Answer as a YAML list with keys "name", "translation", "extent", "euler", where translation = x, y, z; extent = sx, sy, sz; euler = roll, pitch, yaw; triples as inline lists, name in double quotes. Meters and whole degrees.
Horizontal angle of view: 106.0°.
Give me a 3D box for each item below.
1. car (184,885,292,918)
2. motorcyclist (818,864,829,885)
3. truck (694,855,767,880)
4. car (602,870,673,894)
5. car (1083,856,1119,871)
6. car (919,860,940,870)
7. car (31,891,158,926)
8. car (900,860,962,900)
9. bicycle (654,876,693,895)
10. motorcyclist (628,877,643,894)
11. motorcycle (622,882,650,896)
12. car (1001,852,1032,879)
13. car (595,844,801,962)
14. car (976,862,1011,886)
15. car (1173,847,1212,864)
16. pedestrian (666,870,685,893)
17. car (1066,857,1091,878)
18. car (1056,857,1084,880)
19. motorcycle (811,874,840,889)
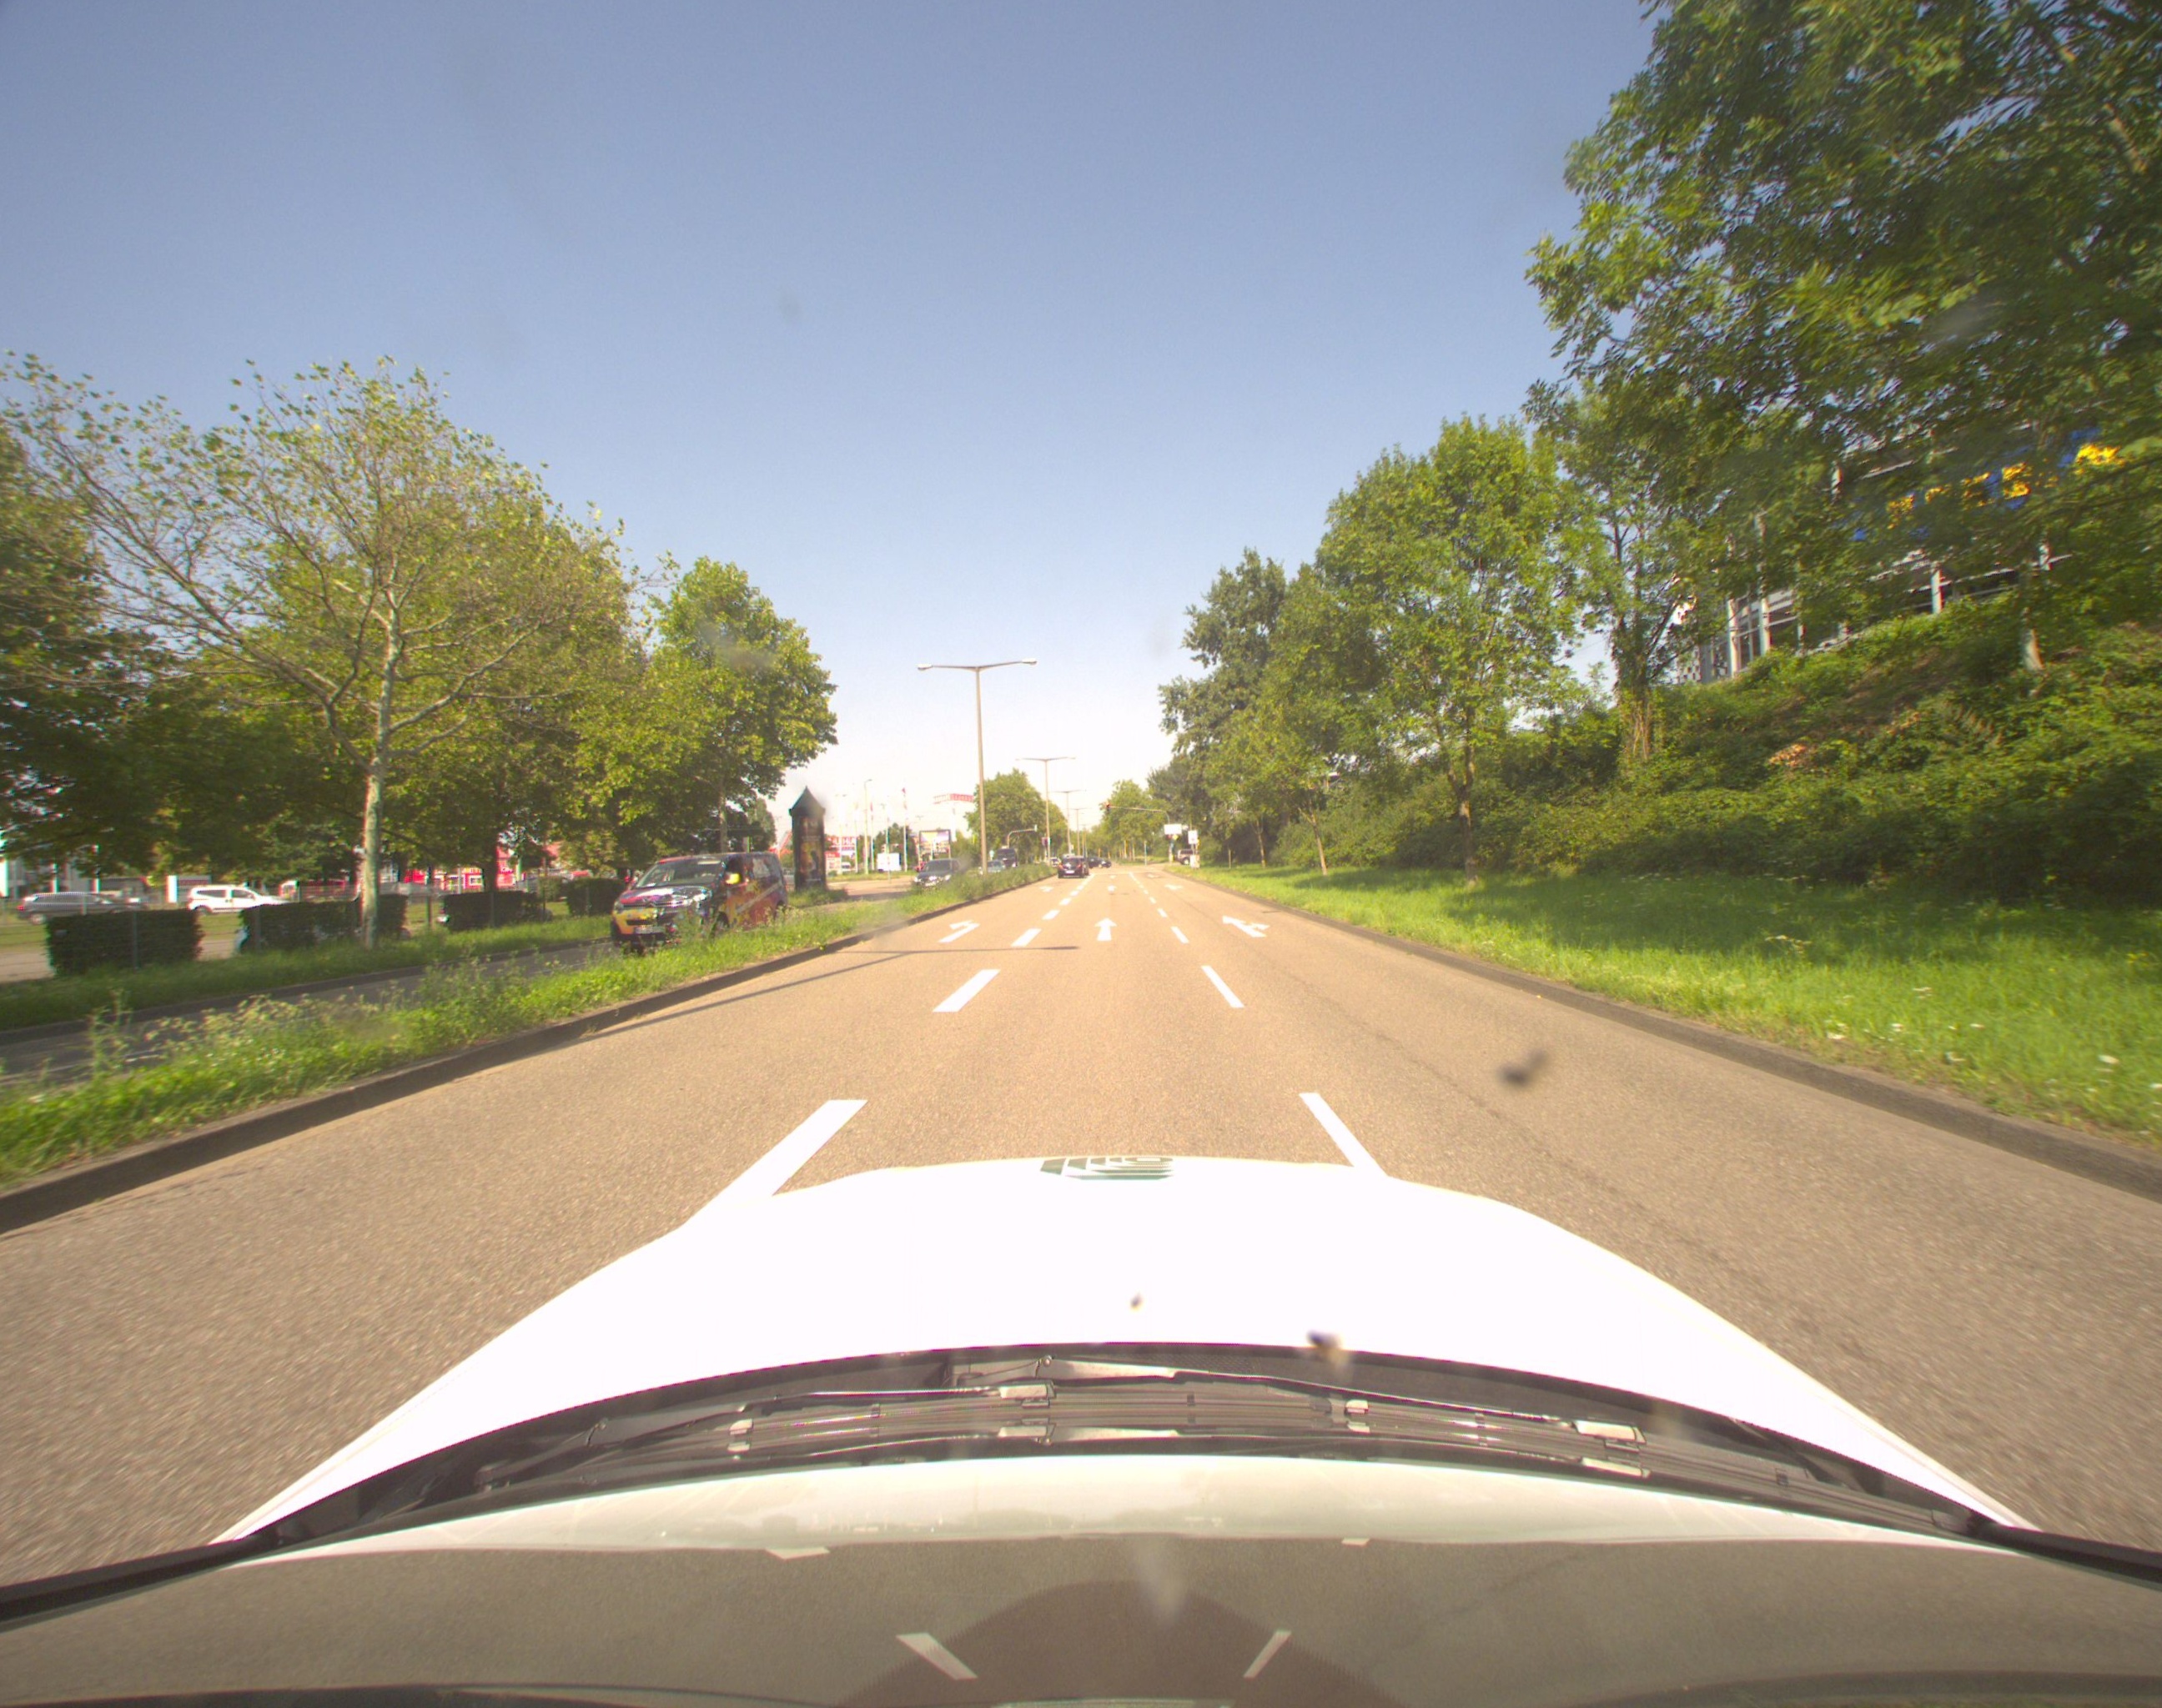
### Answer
- name: "car"
  translation: [-48.510, 2.707, 46.989]
  extent: [4.017, 1.679, 1.850]
  euler: [-1, -1, -35]
- name: "motorcyclist"
  translation: [-20.231, 1.618, 64.005]
  extent: [0.686, 1.572, 0.676]
  euler: [-1, -1, -34]
- name: "truck"
  translation: [-49.933, 1.936, 116.066]
  extent: [9.050, 2.958, 3.477]
  euler: [-3, 0, -34]
- name: "car"
  translation: [-32.215, 2.006, 59.173]
  extent: [4.330, 1.579, 1.555]
  euler: [-1, -1, -36]
- name: "car"
  translation: [2.341, 1.111, 95.413]
  extent: [3.933, 1.533, 1.830]
  euler: [-2, -1, 14]
- name: "car"
  translation: [-32.373, 2.304, 173.892]
  extent: [1.974, 2.014, 4.317]
  euler: [-2, -1, 30]
- name: "car"
  translation: [-53.769, 2.926, 44.511]
  extent: [4.015, 1.545, 1.821]
  euler: [-3, 0, -33]
- name: "car"
  translation: [-6.995, 1.179, 38.556]
  extent: [1.987, 1.706, 4.505]
  euler: [-2, -1, 1]
- name: "bicycle"
  translation: [-29.025, 2.255, 58.070]
  extent: [2.370, 1.235, 0.865]
  euler: [-1, -1, -34]
- name: "motorcyclist"
  translation: [-31.730, 2.208, 58.000]
  extent: [0.833, 1.178, 0.684]
  euler: [-1, -1, -33]
- name: "motorcycle"
  translation: [-31.695, 2.494, 58.006]
  extent: [1.727, 0.945, 0.704]
  euler: [-1, -1, -33]
- name: "car"
  translation: [-5.834, 1.043, 74.550]
  extent: [2.104, 2.333, 6.285]
  euler: [-2, -1, 2]
- name: "car"
  translation: [-7.700, 0.891, 16.964]
  extent: [1.925, 2.027, 4.568]
  euler: [-3, 0, 1]
- name: "car"
  translation: [-6.055, 1.383, 56.782]
  extent: [1.766, 1.574, 4.003]
  euler: [-2, -1, 3]
- name: "car"
  translation: [13.027, 0.190, 95.298]
  extent: [4.257, 1.836, 1.910]
  euler: [-2, -1, -4]
- name: "pedestrian"
  translation: [-28.933, 1.941, 58.113]
  extent: [1.062, 1.575, 0.859]
  euler: [-1, -1, -34]
- name: "car"
  translation: [-0.193, 1.010, 63.170]
  extent: [1.685, 1.486, 4.002]
  euler: [-3, 0, 2]
- name: "car"
  translation: [-0.734, 0.976, 56.903]
  extent: [1.685, 1.486, 4.002]
  euler: [-3, 0, 2]
- name: "motorcycle"
  translation: [-20.102, 2.156, 64.075]
  extent: [2.084, 1.136, 0.670]
  euler: [-2, -1, -34]
